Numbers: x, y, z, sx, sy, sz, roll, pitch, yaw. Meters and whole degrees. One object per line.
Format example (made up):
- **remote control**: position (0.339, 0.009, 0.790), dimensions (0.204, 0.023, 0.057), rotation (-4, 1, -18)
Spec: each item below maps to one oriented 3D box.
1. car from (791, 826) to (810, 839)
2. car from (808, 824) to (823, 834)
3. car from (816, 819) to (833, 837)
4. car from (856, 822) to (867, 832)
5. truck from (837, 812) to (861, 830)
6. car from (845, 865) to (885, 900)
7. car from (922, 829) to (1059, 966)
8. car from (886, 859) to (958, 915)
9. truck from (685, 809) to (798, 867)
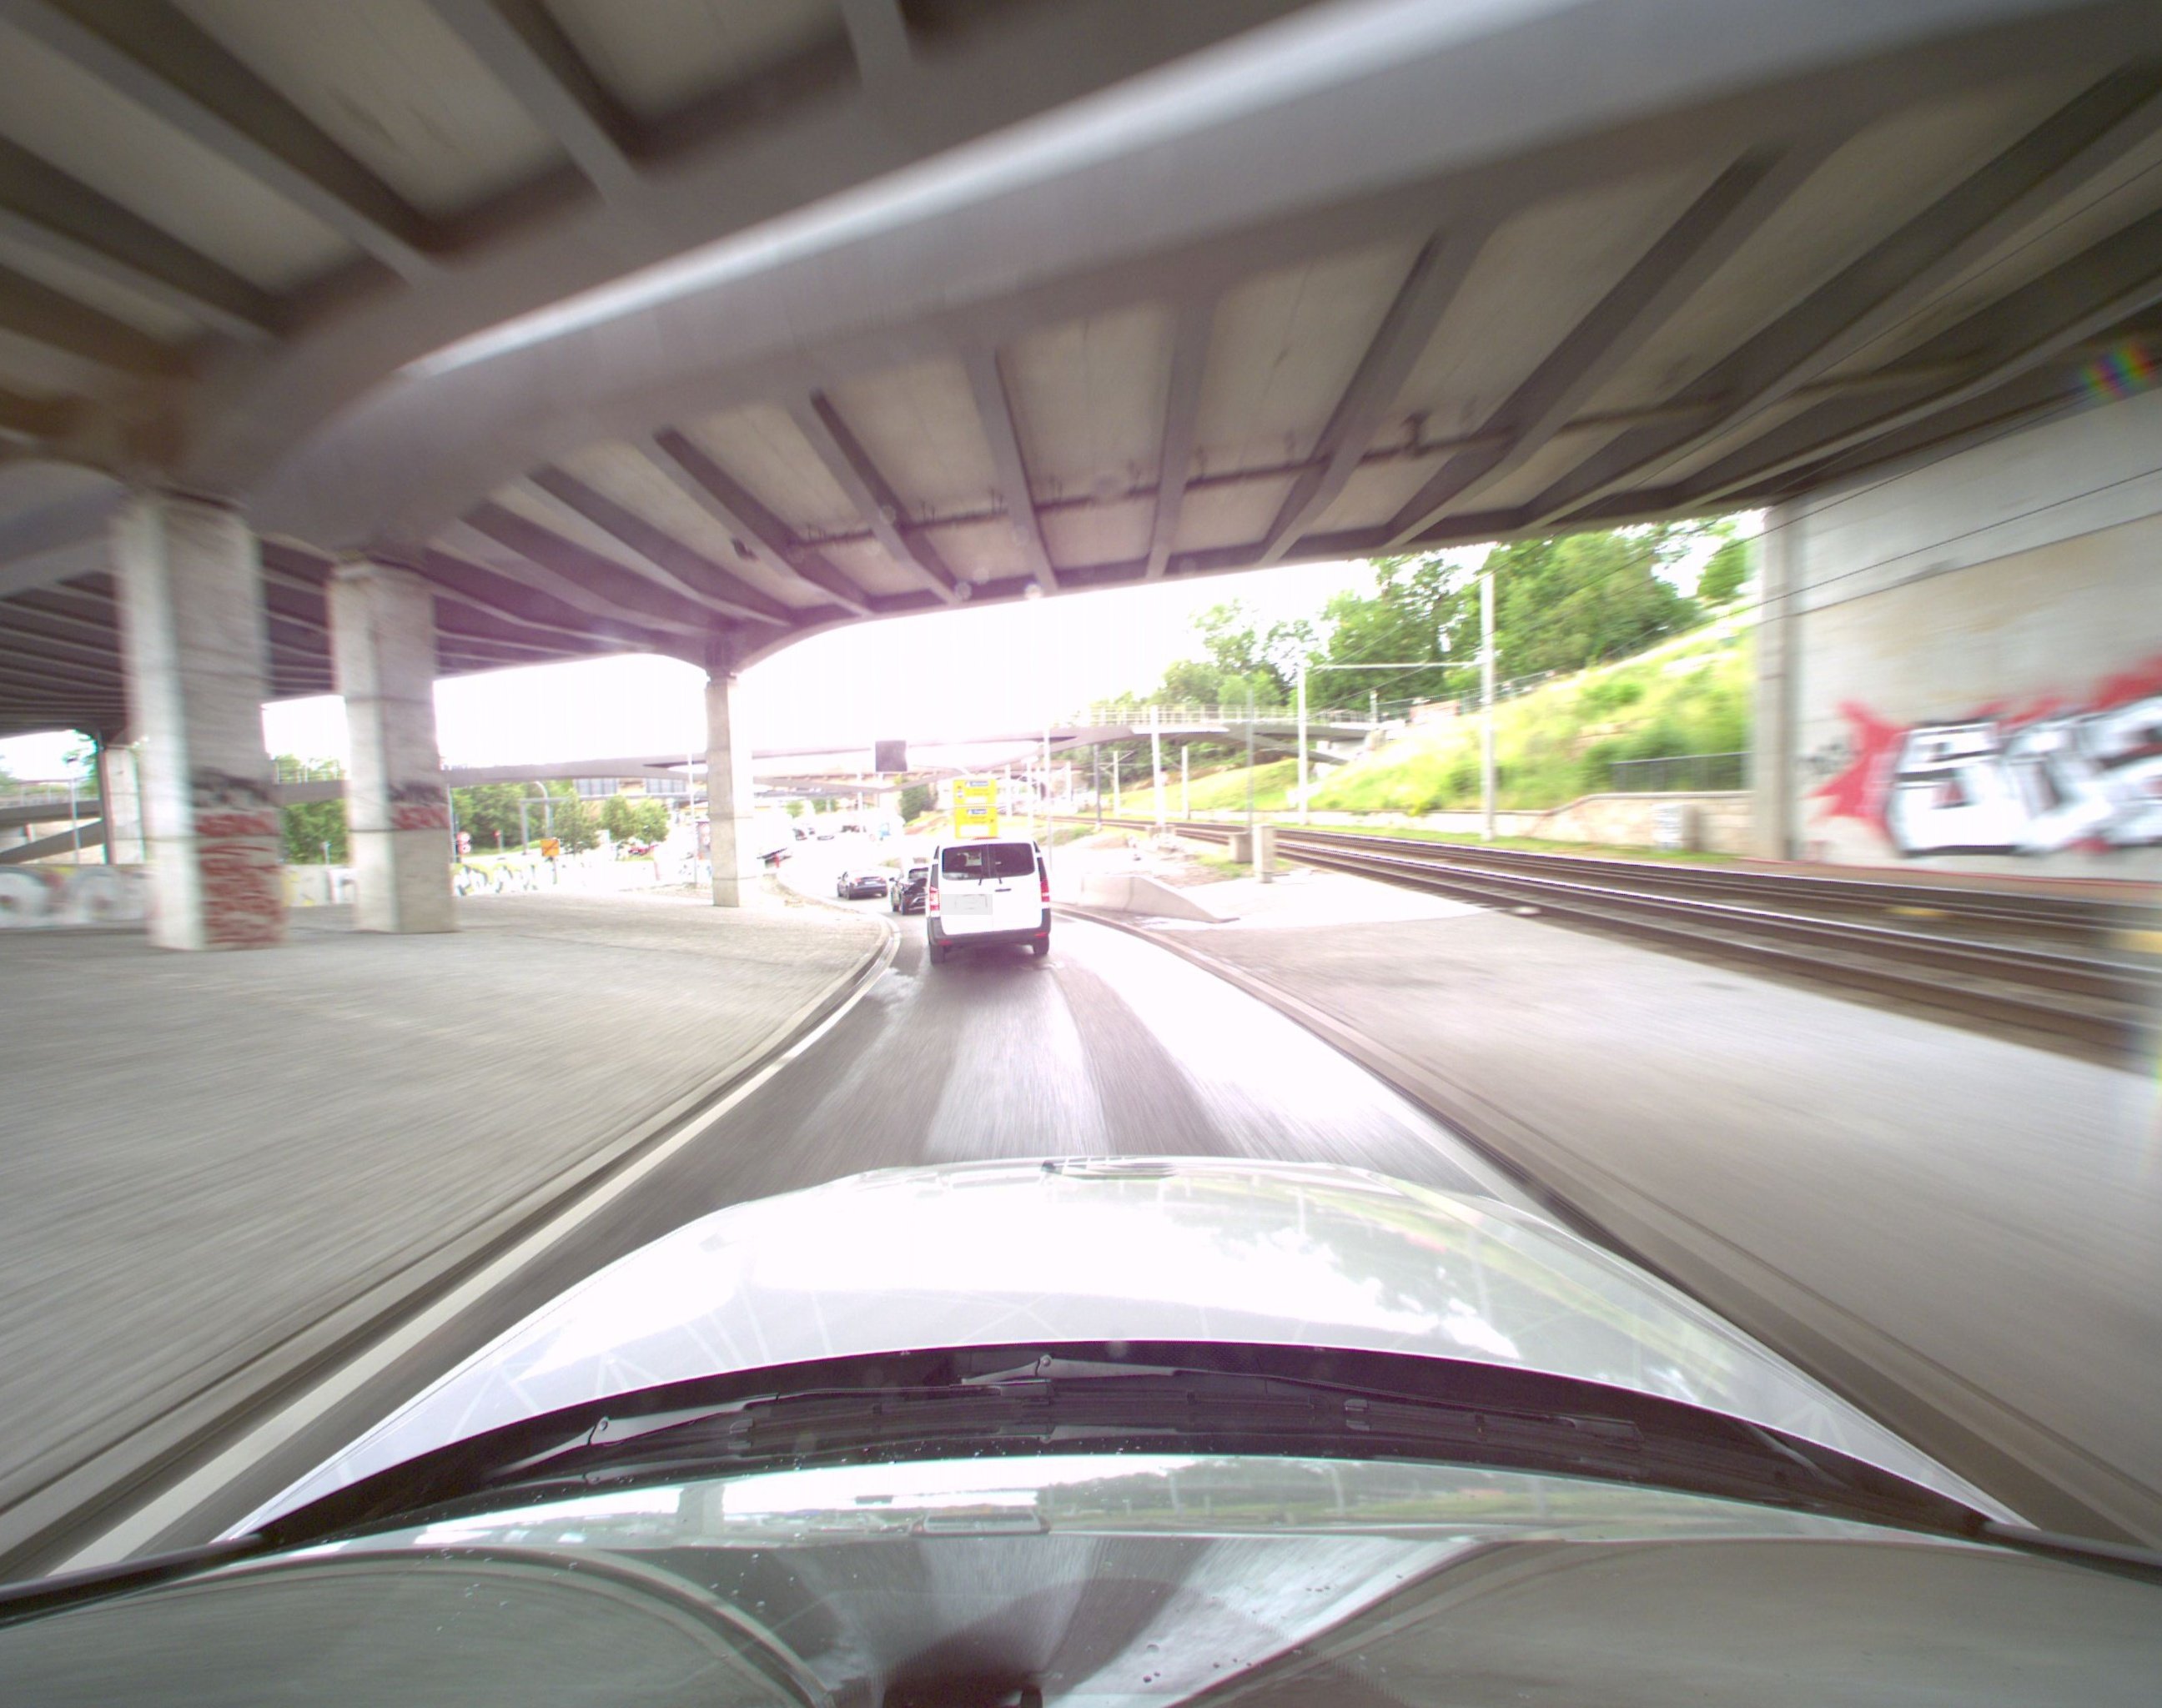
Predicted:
- **car**: position (-36.043, -2.759, 104.753), dimensions (1.645, 1.620, 3.988), rotation (-1, 2, -9)
- **car**: position (-41.264, -3.853, 126.691), dimensions (1.529, 1.508, 3.989), rotation (-1, 2, -8)
- **car**: position (-31.792, -3.224, 101.001), dimensions (1.902, 2.115, 4.461), rotation (-2, 2, -16)
- **car**: position (-38.331, -4.687, 142.200), dimensions (1.624, 1.584, 3.985), rotation (-1, 2, -12)
- **truck**: position (-43.627, -6.248, 153.584), dimensions (3.392, 3.149, 7.236), rotation (1, 0, -8)
- **car**: position (-10.373, 1.320, 38.964), dimensions (1.506, 1.469, 3.376), rotation (-2, 1, -20)
- **car**: position (-1.755, 0.640, 14.149), dimensions (1.877, 1.891, 4.734), rotation (-2, 0, -12)
- **car**: position (-5.374, 1.039, 27.231), dimensions (1.755, 1.625, 3.819), rotation (-4, 1, -19)
- **truck**: position (-26.005, -1.553, 63.722), dimensions (3.312, 3.808, 16.567), rotation (0, 4, -5)
